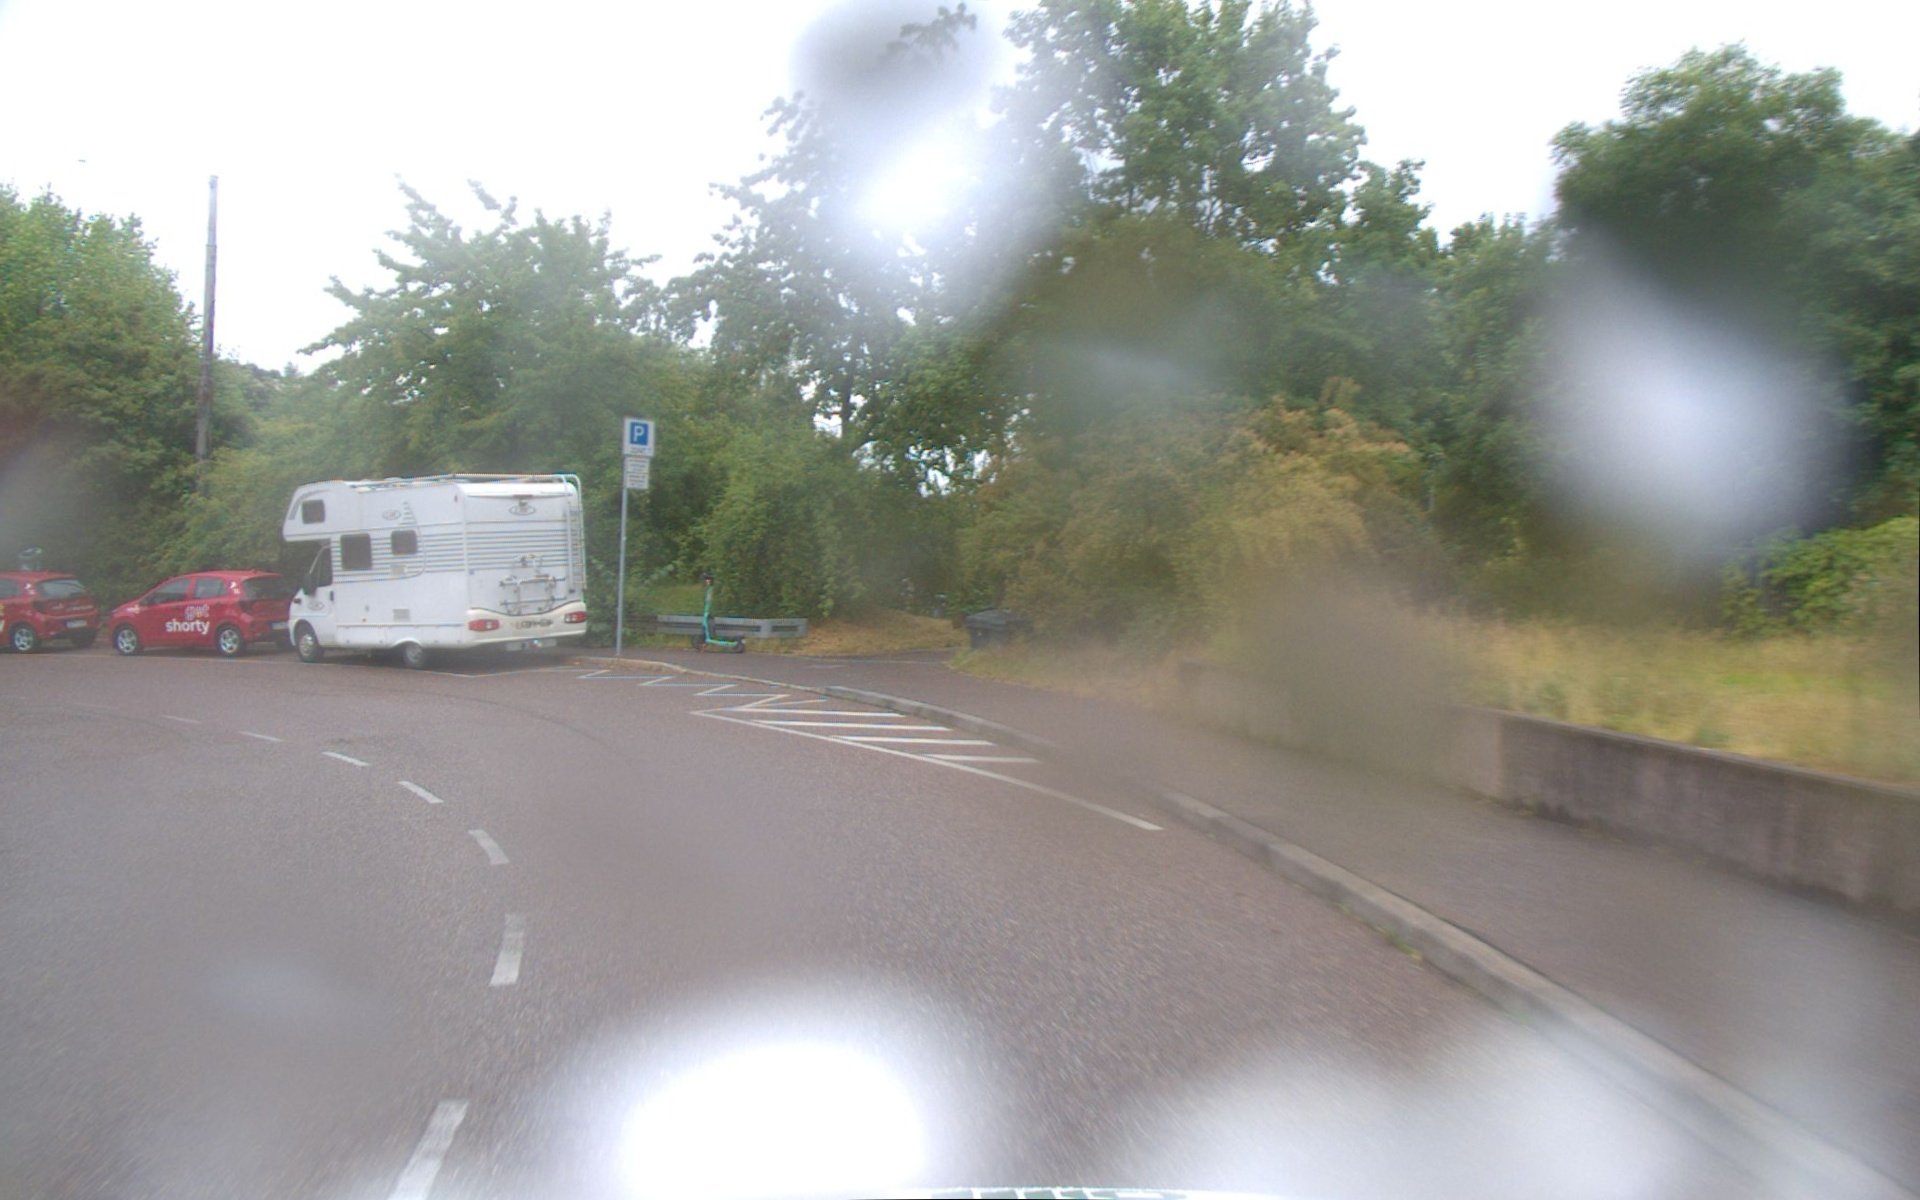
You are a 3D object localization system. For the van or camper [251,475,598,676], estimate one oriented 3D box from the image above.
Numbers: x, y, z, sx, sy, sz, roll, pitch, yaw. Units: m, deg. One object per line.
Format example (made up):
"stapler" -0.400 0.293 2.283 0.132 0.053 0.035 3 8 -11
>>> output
"van or camper" -9.033 -0.477 27.629 6.160 2.994 2.388 1 4 38

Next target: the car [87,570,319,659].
"car" -13.985 0.246 30.593 3.714 1.485 1.648 0 4 18

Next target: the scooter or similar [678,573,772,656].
"scooter or similar" -3.781 0.230 26.556 1.677 1.305 0.449 -1 1 39

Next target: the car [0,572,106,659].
"car" -18.723 0.277 32.121 3.585 1.539 1.565 0 4 13
